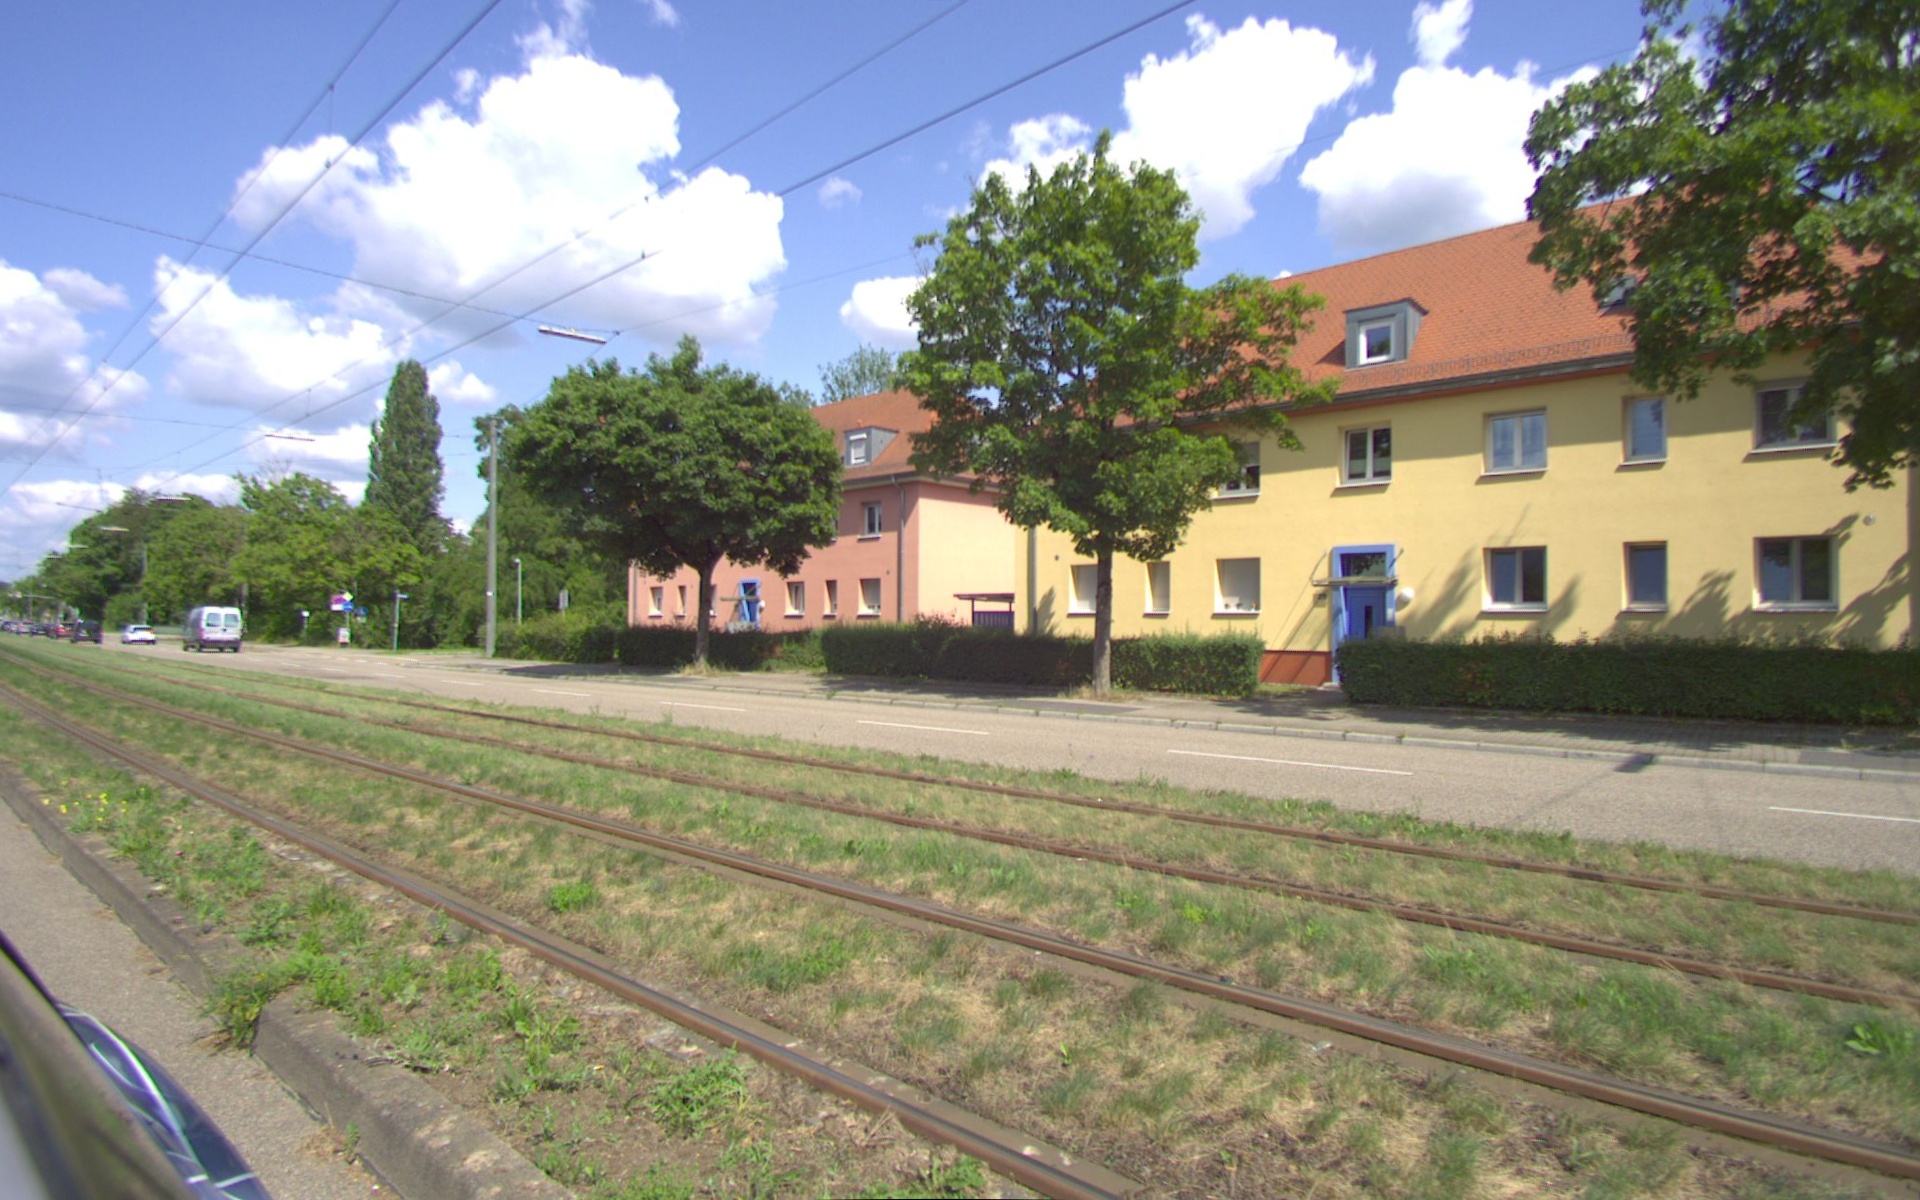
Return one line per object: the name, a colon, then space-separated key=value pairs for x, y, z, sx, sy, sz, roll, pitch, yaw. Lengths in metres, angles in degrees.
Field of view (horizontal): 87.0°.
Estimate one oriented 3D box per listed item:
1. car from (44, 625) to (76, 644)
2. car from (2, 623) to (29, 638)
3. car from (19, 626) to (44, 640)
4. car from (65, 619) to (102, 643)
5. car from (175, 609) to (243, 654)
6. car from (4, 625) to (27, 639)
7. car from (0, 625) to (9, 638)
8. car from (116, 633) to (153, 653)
car: x=-81.001 y=3.088 z=91.078 sx=4.276 sy=1.591 sz=1.709 roll=-1 pitch=-2 yaw=42
car: x=-108.109 y=3.523 z=115.808 sx=4.278 sy=1.664 sz=2.092 roll=-2 pitch=-2 yaw=44
car: x=-94.631 y=3.353 z=103.132 sx=4.278 sy=1.405 sz=1.708 roll=-2 pitch=-2 yaw=45
car: x=-65.889 y=2.317 z=76.044 sx=4.228 sy=1.760 sz=1.667 roll=-1 pitch=-2 yaw=43
car: x=-42.792 y=1.806 z=57.604 sx=5.778 sy=2.455 sz=2.009 roll=-2 pitch=-4 yaw=43
car: x=-118.533 y=4.001 z=127.048 sx=4.278 sy=1.664 sz=1.895 roll=-2 pitch=-2 yaw=45
car: x=-131.144 y=4.283 z=137.850 sx=4.278 sy=1.664 sz=2.092 roll=-2 pitch=-2 yaw=44
car: x=-63.109 y=3.279 z=77.363 sx=4.277 sy=1.442 sz=1.667 roll=-1 pitch=-2 yaw=43
